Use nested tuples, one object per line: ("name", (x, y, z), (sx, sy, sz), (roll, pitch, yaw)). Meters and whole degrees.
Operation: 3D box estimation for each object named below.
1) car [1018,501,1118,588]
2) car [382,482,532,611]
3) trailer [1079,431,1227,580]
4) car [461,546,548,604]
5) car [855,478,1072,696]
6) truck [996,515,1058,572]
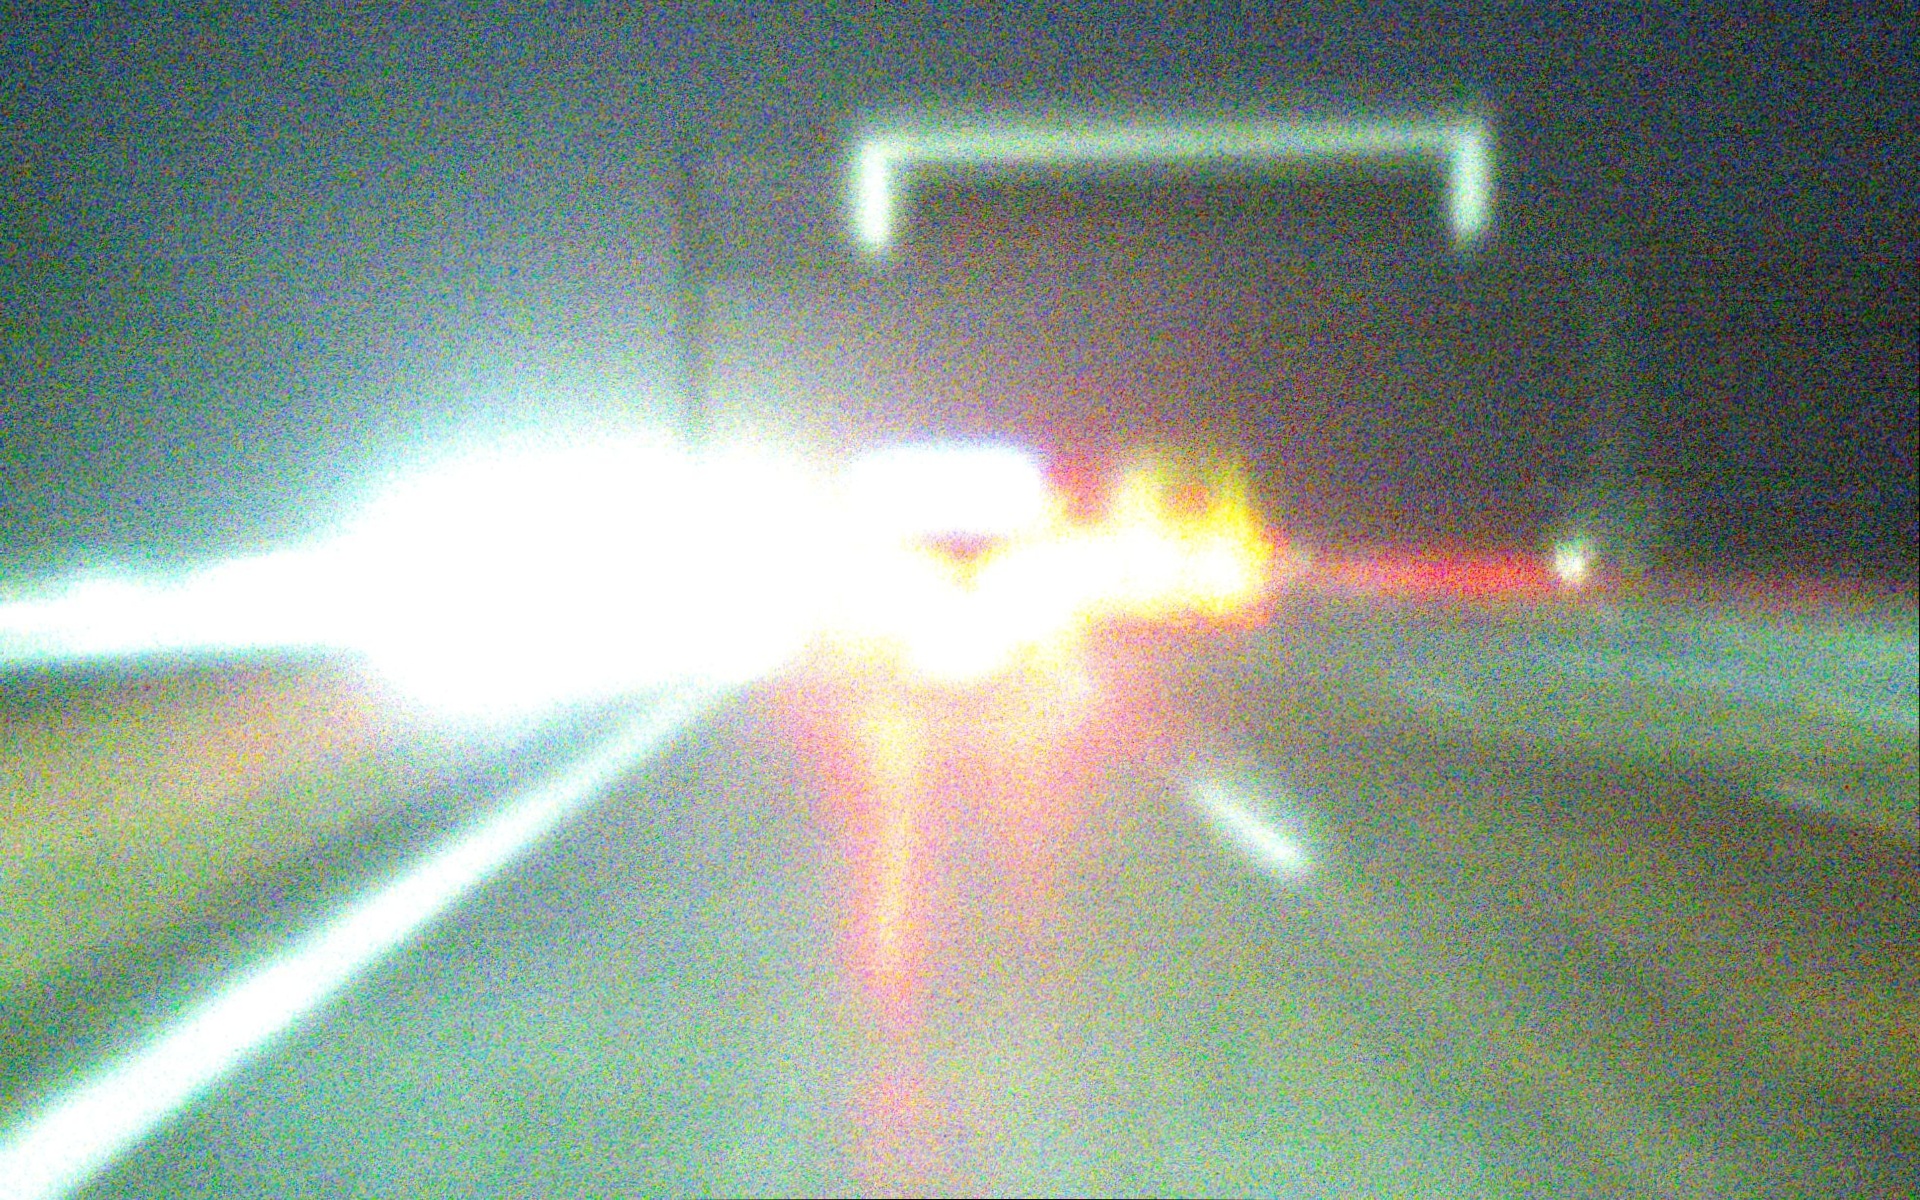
("car", (2.629, -1.352, 84.705), (1.993, 2.007, 4.001), (-2, 1, -4))
("car", (-19.254, -2.130, 132.391), (3.705, 4.712, 10.596), (1, 2, 3))
("trailer", (5.687, -2.733, 103.827), (3.041, 4.094, 13.830), (-2, 1, -2))
("car", (-13.926, -0.784, 105.313), (1.993, 1.657, 4.809), (-2, 1, 0))
("car", (-0.004, -0.138, 33.780), (1.993, 2.007, 4.000), (0, 0, -1))
("truck", (4.102, -3.440, 212.312), (3.037, 3.286, 11.382), (-2, 1, -2))
